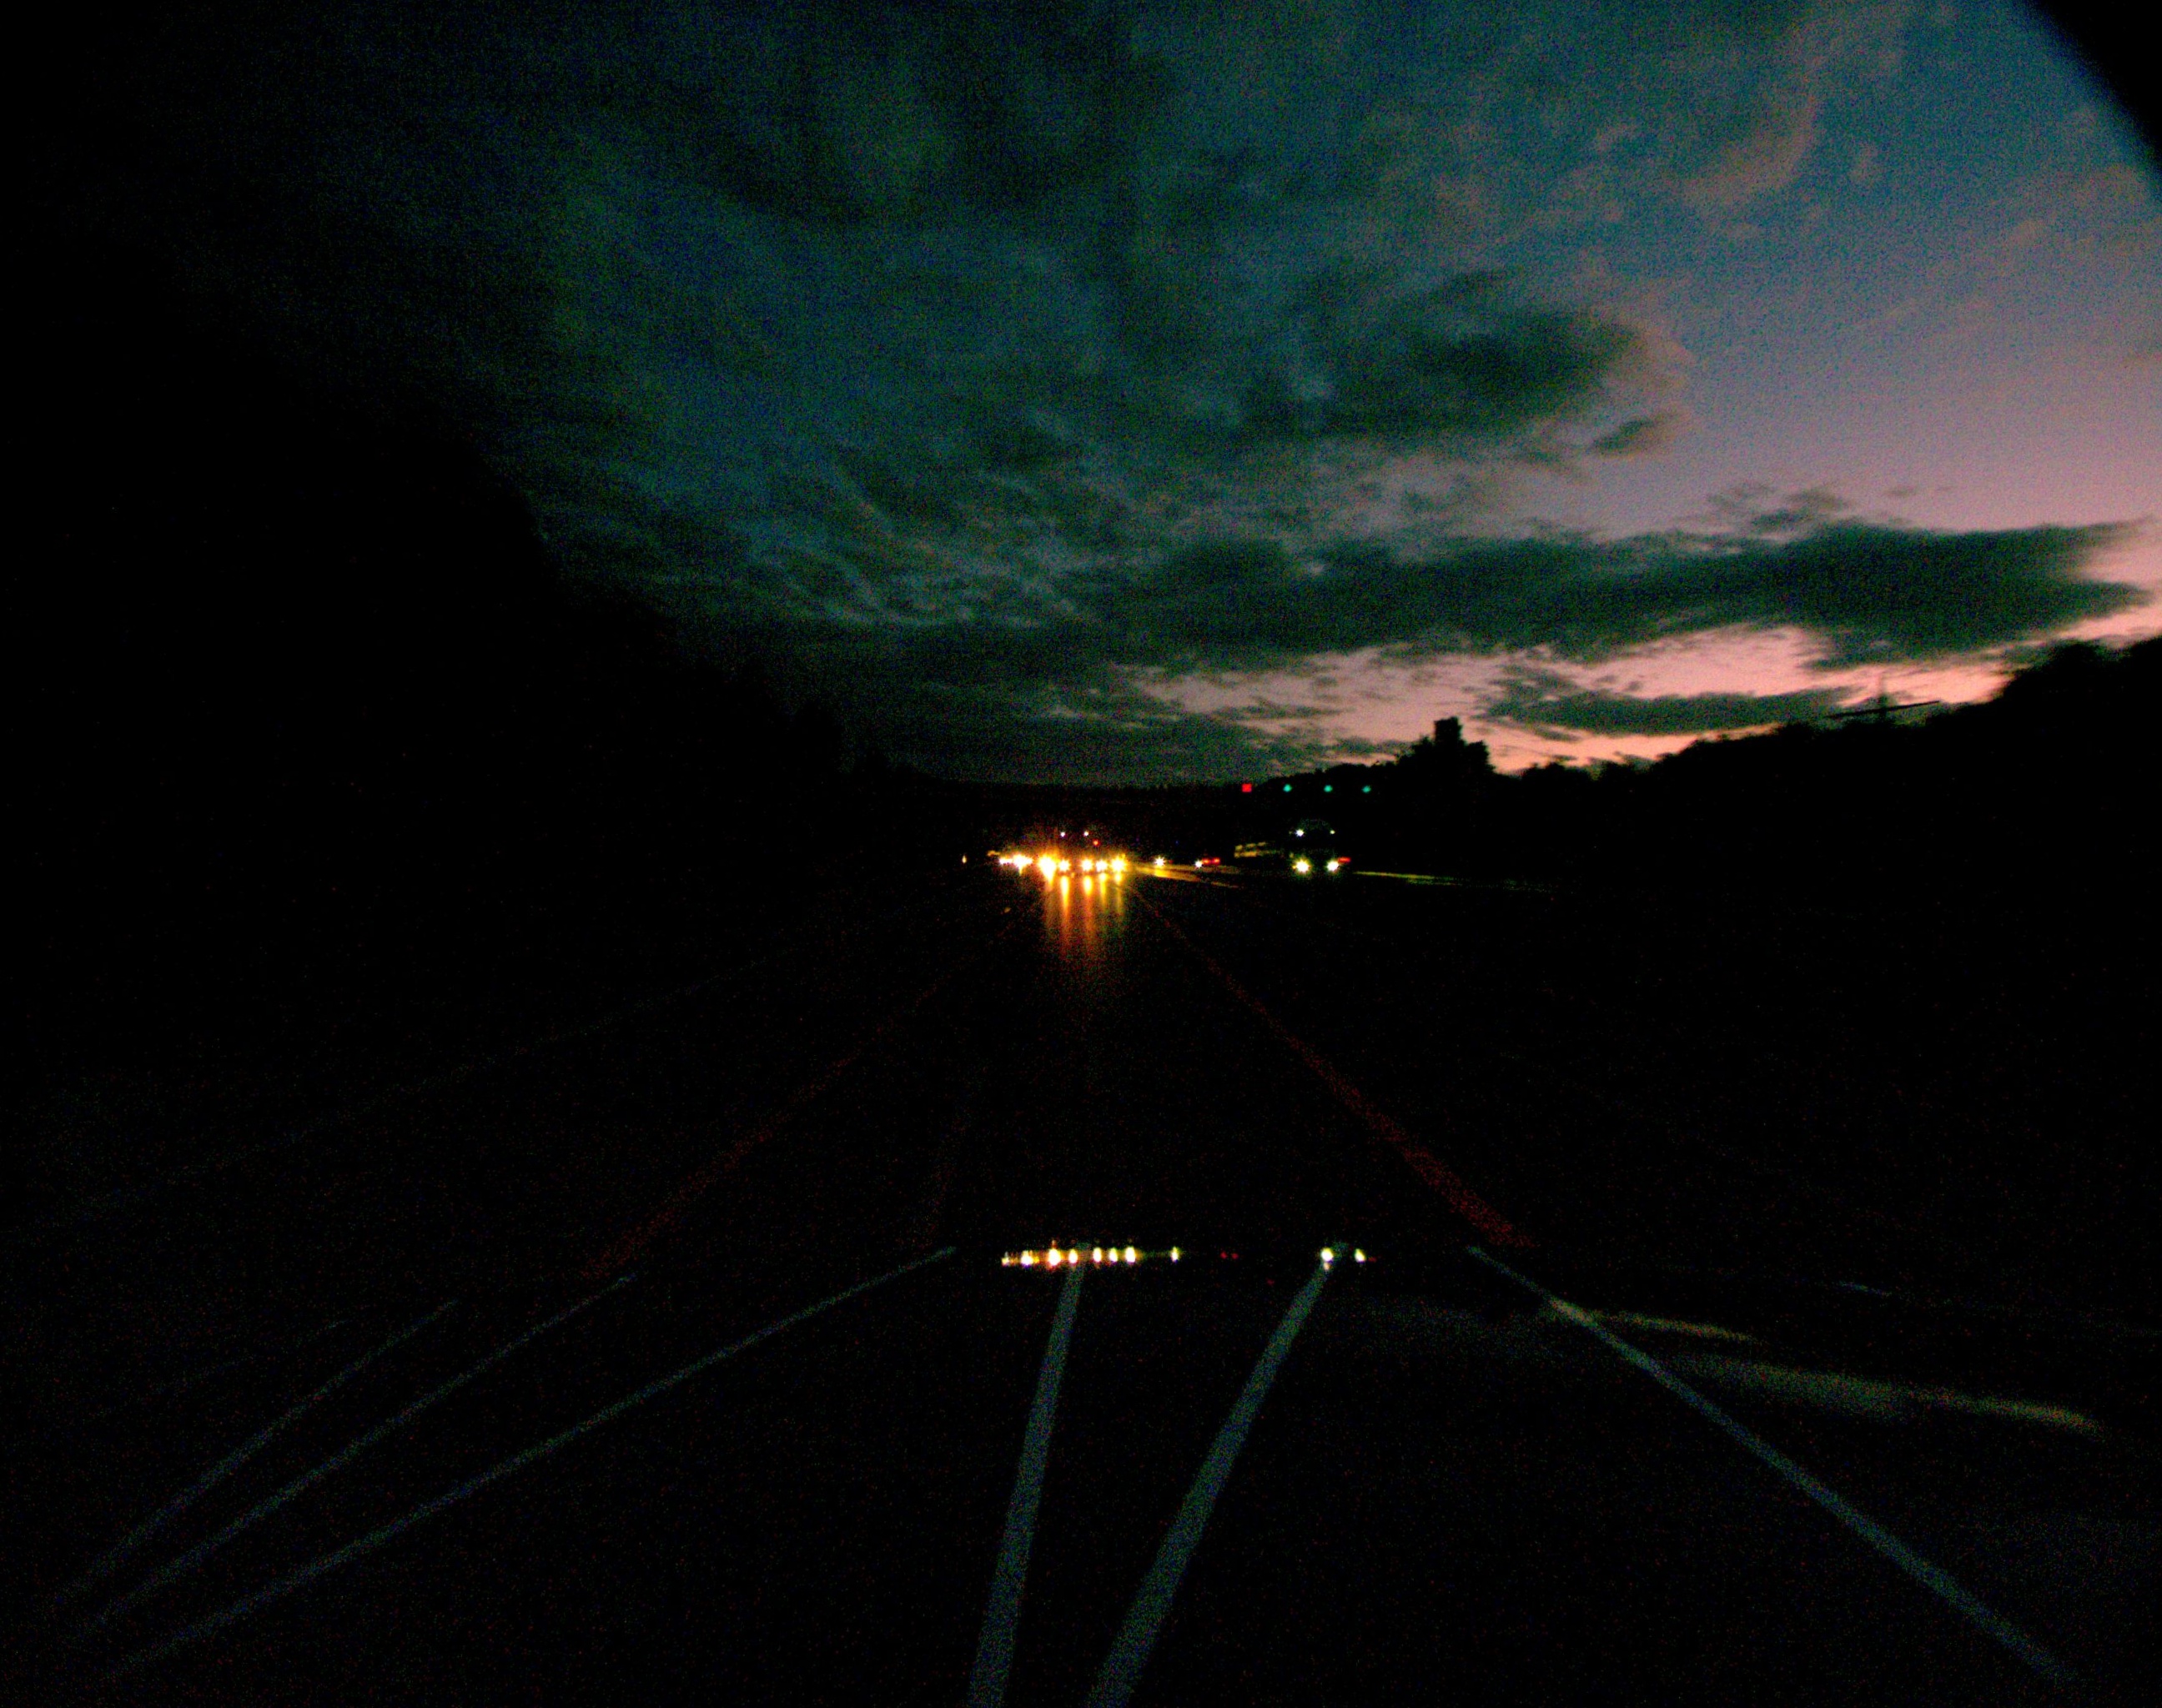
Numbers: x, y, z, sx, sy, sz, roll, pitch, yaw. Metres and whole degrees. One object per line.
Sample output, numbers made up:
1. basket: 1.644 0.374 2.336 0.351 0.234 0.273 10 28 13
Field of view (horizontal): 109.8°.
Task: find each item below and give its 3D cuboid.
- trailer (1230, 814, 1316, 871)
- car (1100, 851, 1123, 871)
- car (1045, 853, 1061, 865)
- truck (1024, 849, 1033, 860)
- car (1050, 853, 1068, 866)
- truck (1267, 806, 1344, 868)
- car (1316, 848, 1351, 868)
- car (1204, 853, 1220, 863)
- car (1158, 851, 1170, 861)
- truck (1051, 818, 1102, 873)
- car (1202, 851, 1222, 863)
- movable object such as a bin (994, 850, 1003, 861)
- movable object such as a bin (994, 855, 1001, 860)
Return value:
1. trailer: 14.363 -0.831 58.022 2.806 3.761 11.830 -3 1 -3
2. car: 2.662 0.613 66.965 1.663 1.586 3.995 -3 1 -2
3. car: -4.108 0.690 110.657 1.927 1.606 3.997 -1 0 -6
4. truck: -14.762 0.132 213.452 1.999 2.817 6.294 -3 1 -1
5. car: -2.886 0.719 97.676 1.927 1.606 3.997 -1 0 -6
6. truck: 14.741 -1.083 50.372 2.810 3.753 6.300 -3 1 -3
7. car: 23.919 0.343 72.035 1.912 1.705 3.942 -3 1 0
8. car: 21.063 0.588 122.567 1.707 1.447 3.929 -3 1 -3
9. car: 18.256 0.457 167.044 1.999 2.002 3.999 -1 0 -1
10. truck: -0.566 -0.669 65.763 2.955 4.241 11.045 -3 1 -7
11. car: 18.660 0.423 108.766 1.835 1.651 4.840 -3 1 -1
12. movable object such as a bin: -24.278 0.343 223.452 2.629 3.090 5.801 -1 0 -8
13. movable object such as a bin: -25.033 1.072 228.359 2.000 1.592 4.081 0 1 -7
